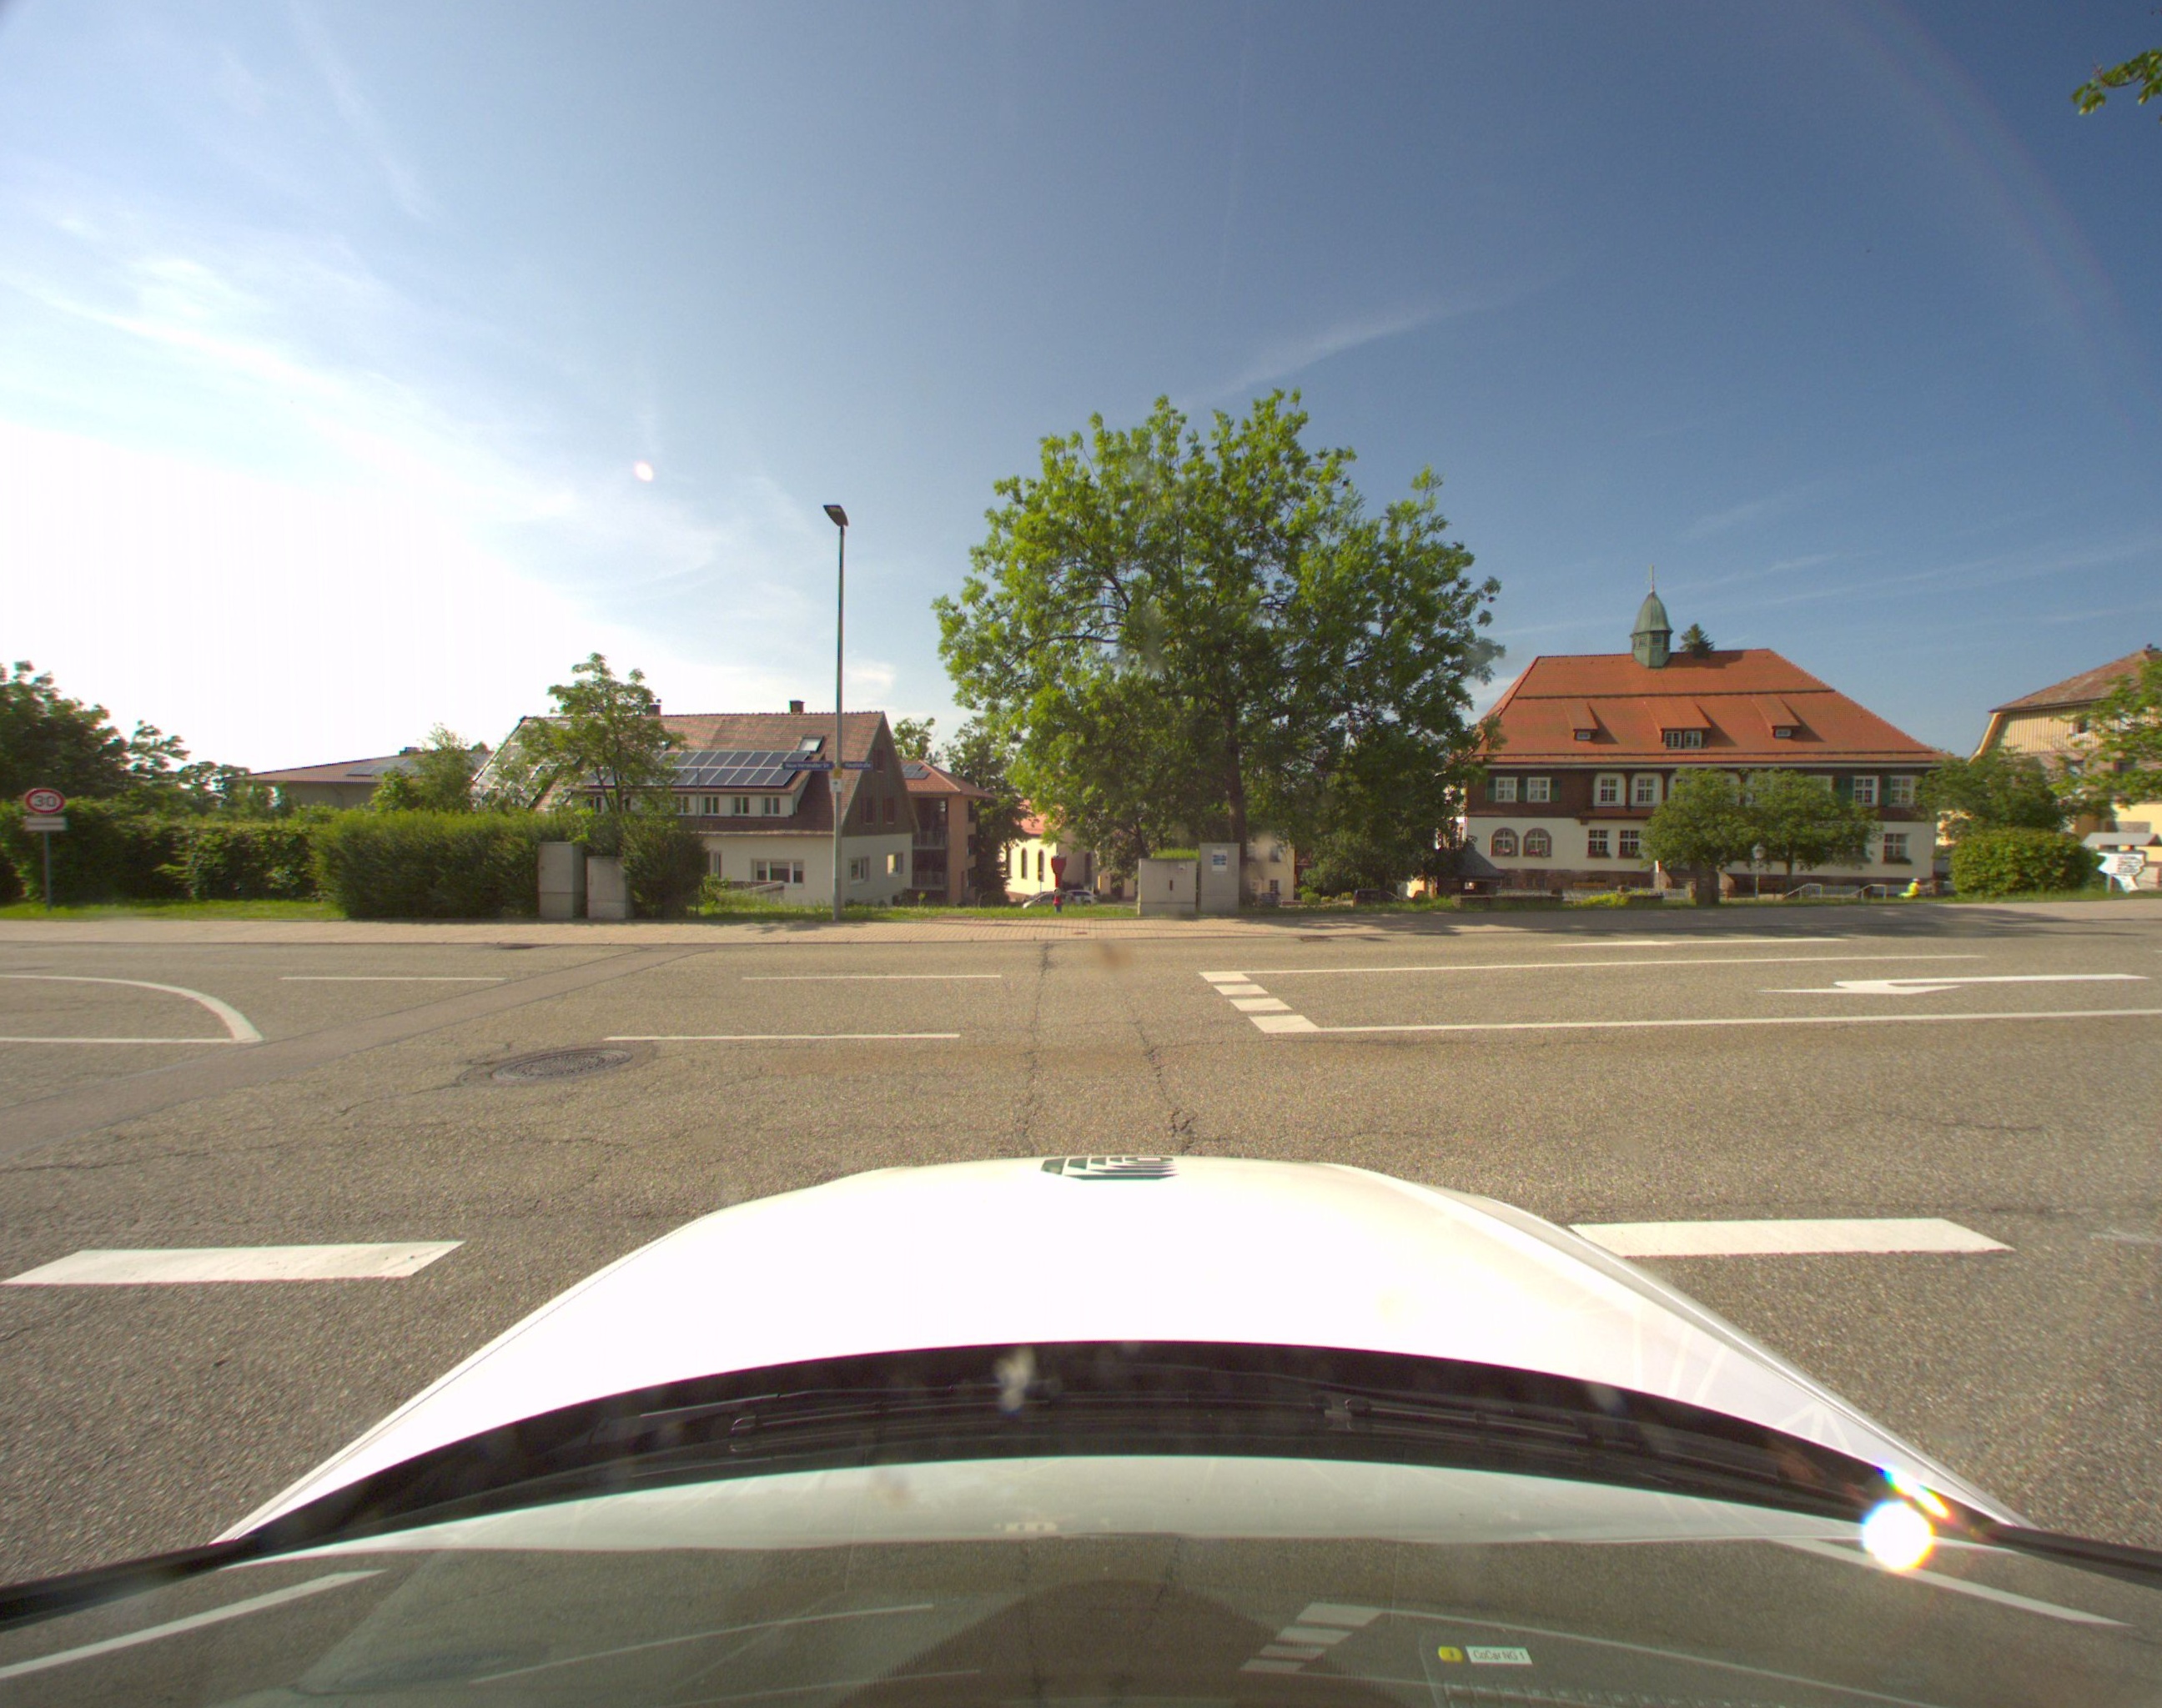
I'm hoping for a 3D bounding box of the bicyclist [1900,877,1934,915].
[{"bbox_3d":[42.473,2.143,41.385,0.988,1.925,0.584,-1,-1,11],"label":"bicyclist"}]

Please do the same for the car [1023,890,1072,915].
[{"bbox_3d":[-2.619,3.771,63.371,3.766,1.758,1.711,-1,-1,-4],"label":"car"}]

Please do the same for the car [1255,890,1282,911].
[{"bbox_3d":[15.492,3.826,67.428,1.699,1.542,3.791,-1,-1,6],"label":"car"}]

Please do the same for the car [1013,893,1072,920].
[{"bbox_3d":[-2.694,3.662,57.519,4.082,1.758,1.711,-1,-1,-4],"label":"car"}]

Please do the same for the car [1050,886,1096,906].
[{"bbox_3d":[-0.696,3.499,68.364,3.766,1.594,1.711,-1,-1,-4],"label":"car"}]

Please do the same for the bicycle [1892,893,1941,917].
[{"bbox_3d":[42.463,2.578,41.384,1.711,1.190,0.540,-1,-1,10],"label":"bicycle"}]

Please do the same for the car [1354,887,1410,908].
[{"bbox_3d":[22.438,3.263,60.866,3.746,1.444,1.720,-1,-1,13],"label":"car"}]
